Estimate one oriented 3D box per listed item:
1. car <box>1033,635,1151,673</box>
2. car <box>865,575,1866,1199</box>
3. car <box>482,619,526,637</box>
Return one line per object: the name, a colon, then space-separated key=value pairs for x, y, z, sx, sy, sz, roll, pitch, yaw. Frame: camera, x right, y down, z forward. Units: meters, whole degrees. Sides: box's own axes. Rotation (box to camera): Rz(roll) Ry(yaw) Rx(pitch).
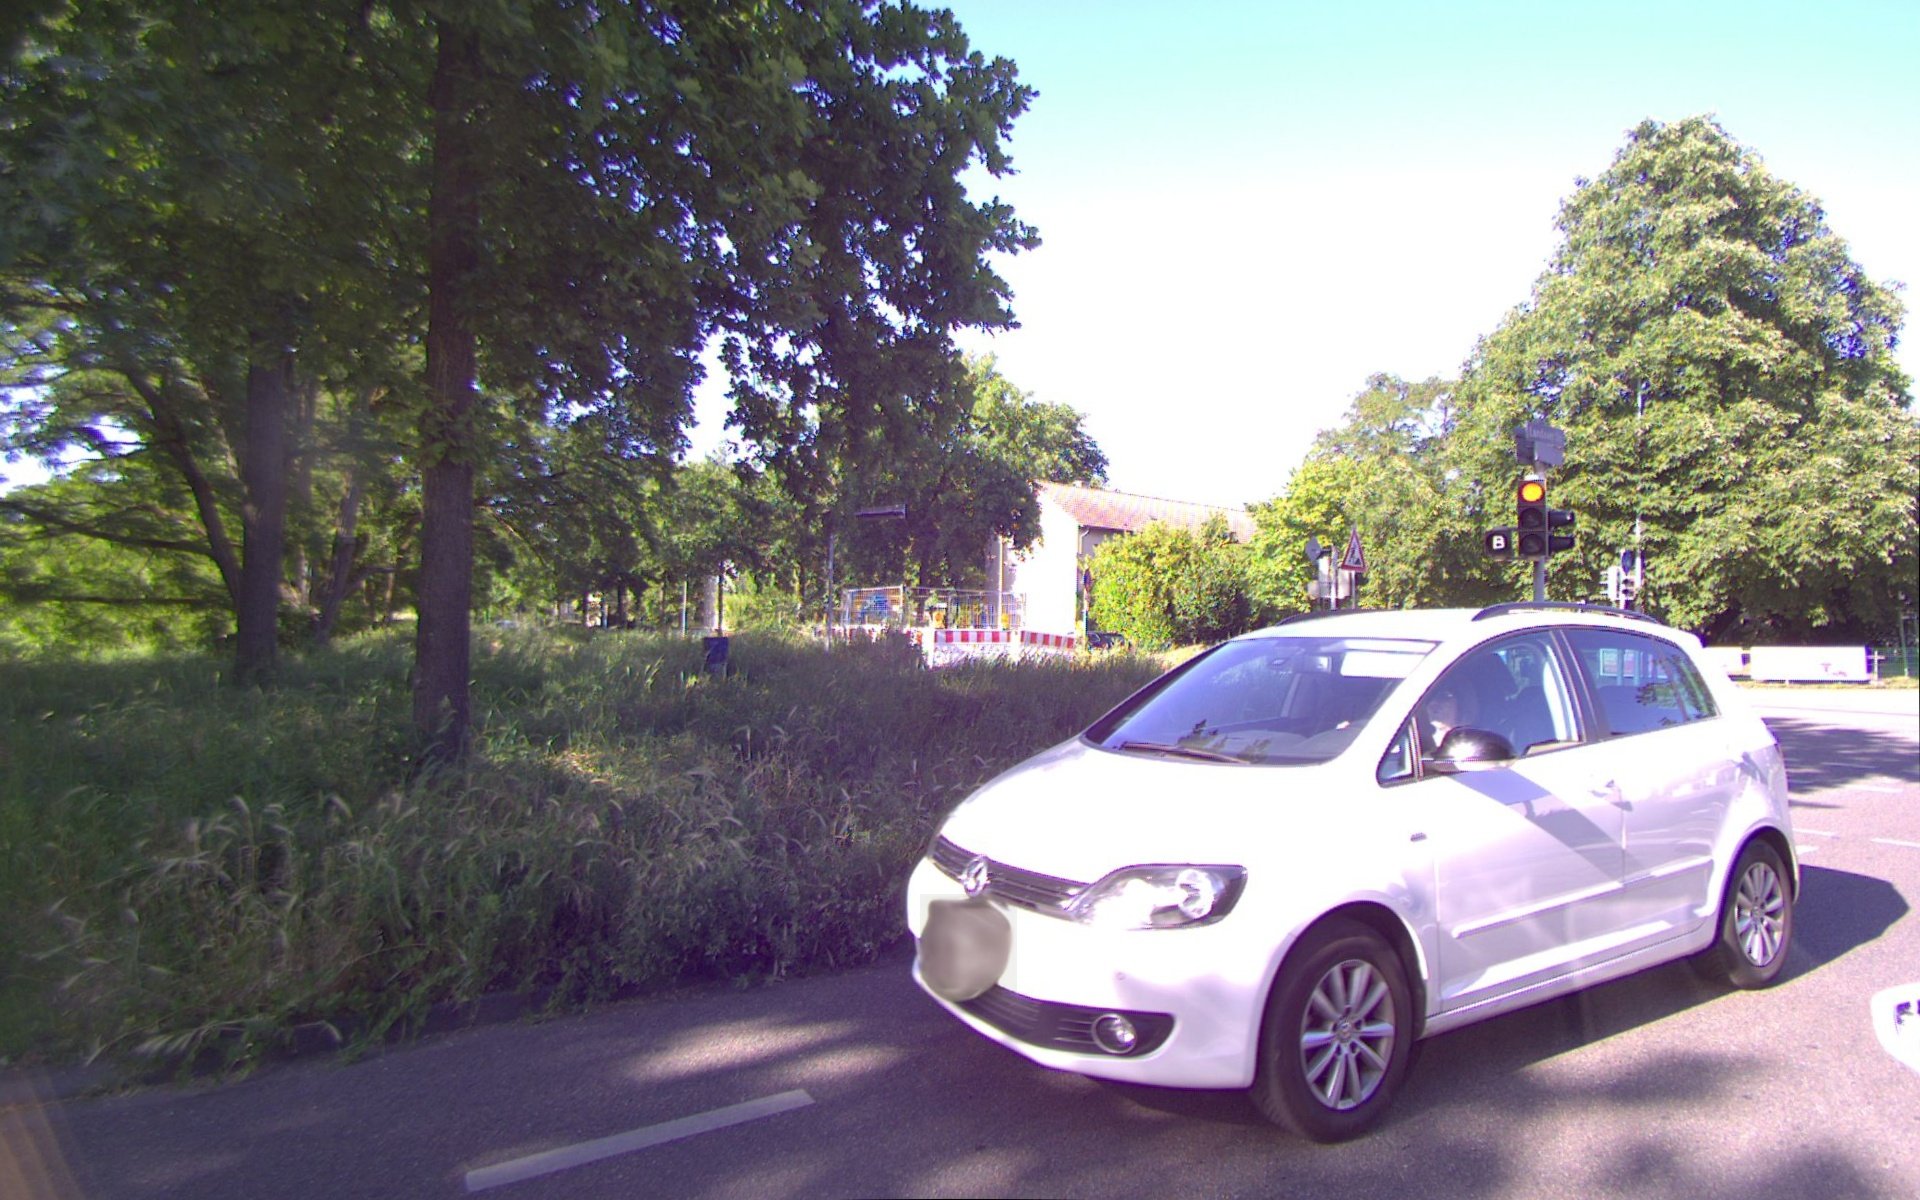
car: x=5.253 y=2.147 z=40.499 sx=1.983 sy=1.449 sz=4.691 roll=2 pitch=-3 yaw=-39
car: x=1.821 y=0.801 z=4.261 sx=4.070 sy=1.583 sz=1.745 roll=0 pitch=-4 yaw=-30
car: x=-47.388 y=2.886 z=104.490 sx=3.939 sy=1.673 sz=1.991 roll=2 pitch=0 yaw=-20
